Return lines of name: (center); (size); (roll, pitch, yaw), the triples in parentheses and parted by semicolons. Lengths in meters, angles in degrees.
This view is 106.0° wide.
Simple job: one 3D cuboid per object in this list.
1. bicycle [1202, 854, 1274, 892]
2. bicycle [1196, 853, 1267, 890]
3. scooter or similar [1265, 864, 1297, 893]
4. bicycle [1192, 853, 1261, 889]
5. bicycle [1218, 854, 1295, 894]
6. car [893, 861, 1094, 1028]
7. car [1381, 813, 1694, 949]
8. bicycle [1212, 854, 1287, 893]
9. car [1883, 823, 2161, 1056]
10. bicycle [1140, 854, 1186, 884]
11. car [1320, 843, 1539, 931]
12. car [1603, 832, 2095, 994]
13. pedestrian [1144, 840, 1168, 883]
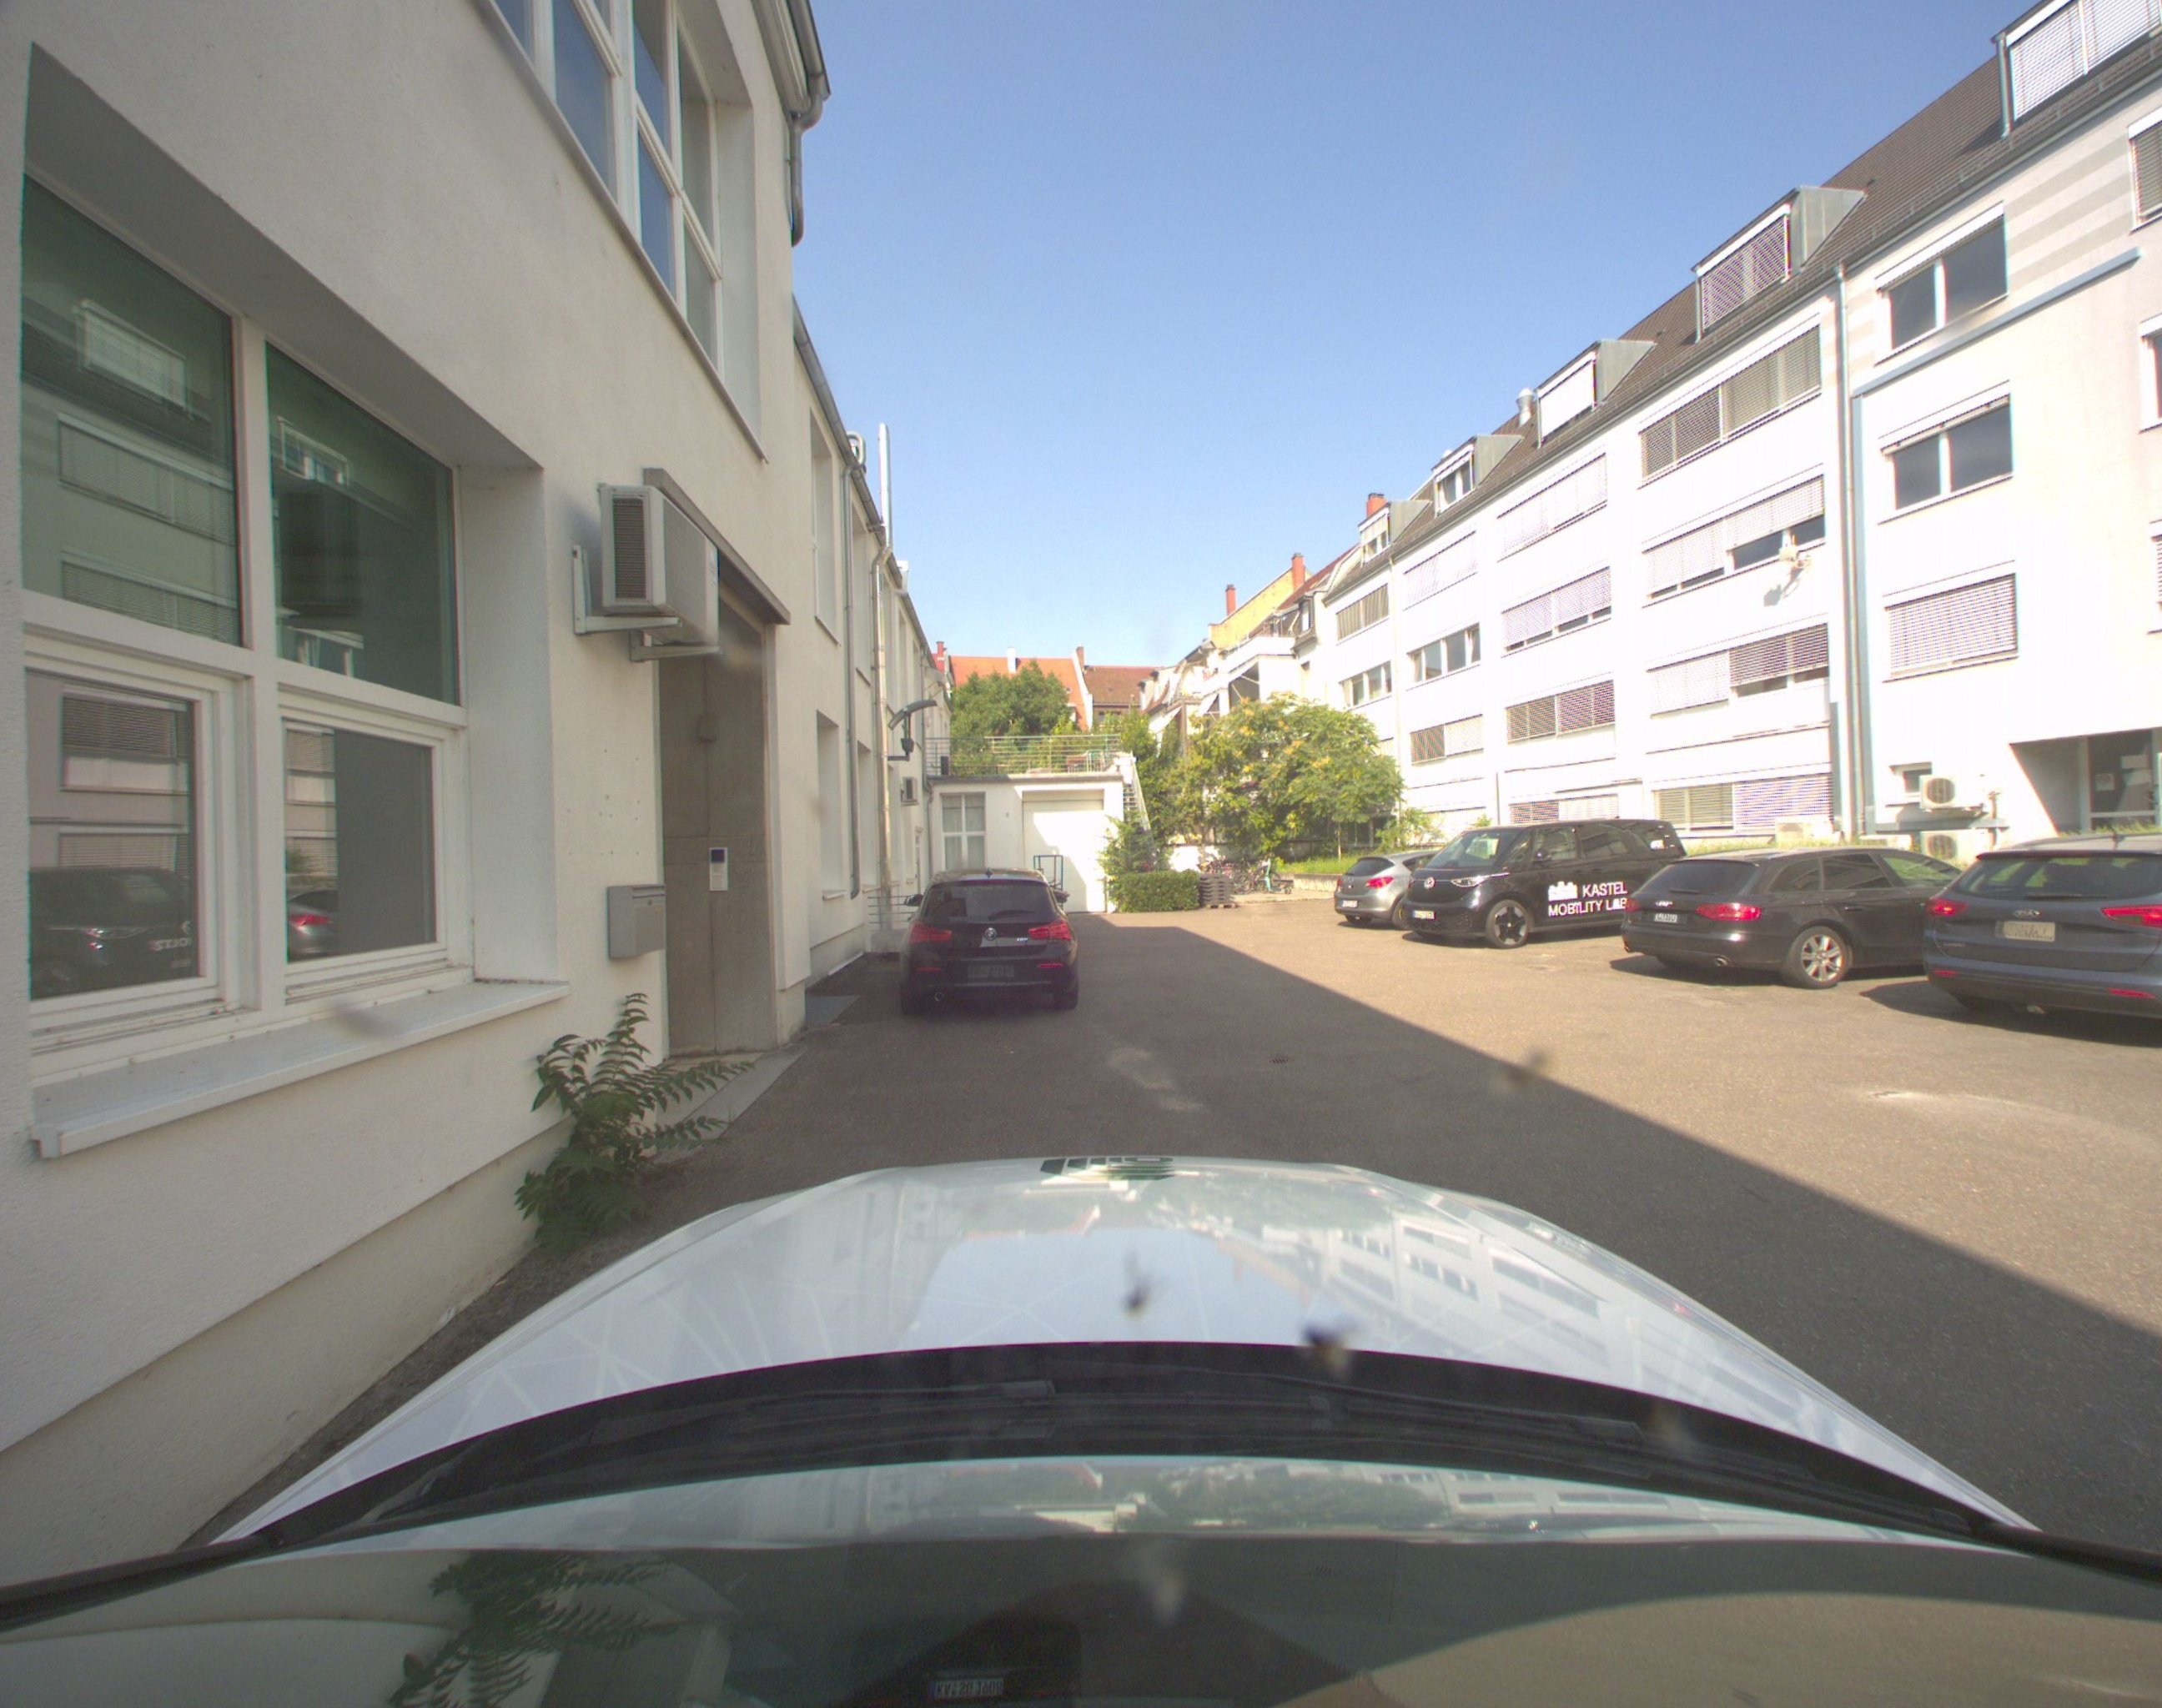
bicycle: (5.433, 0.638, 28.199); (2.407, 1.246, 0.525); (-1, 0, -6)
bicycle: (5.333, 0.626, 28.928); (2.407, 1.246, 0.525); (-1, 0, -6)
scooter or similar: (6.520, 0.784, 26.556); (0.362, 0.924, 0.987); (-1, 0, -43)
bicycle: (5.279, 0.614, 29.554); (2.407, 1.246, 0.525); (-1, 0, -6)
bicycle: (5.778, 0.650, 26.827); (2.407, 1.246, 0.525); (-1, 0, -6)
car: (-1.052, 0.825, 9.473); (1.791, 1.428, 4.125); (-1, 0, -8)
car: (7.412, 0.368, 13.340); (4.343, 1.859, 1.905); (-2, 0, -15)
bicycle: (5.662, 0.635, 27.457); (2.407, 1.246, 0.525); (-1, 0, -6)
car: (8.917, 0.505, 6.375); (4.047, 1.478, 1.736); (-2, 0, -10)
bicycle: (3.458, 0.635, 34.201); (2.001, 1.143, 0.485); (-3, 1, -33)
car: (6.937, 0.591, 16.251); (3.908, 1.466, 1.652); (-2, 0, -19)
car: (8.400, 0.571, 9.085); (4.229, 1.437, 1.686); (-2, 0, -7)
pedestrian: (3.152, 0.317, 34.278); (0.613, 1.771, 0.852); (-1, 0, -34)
